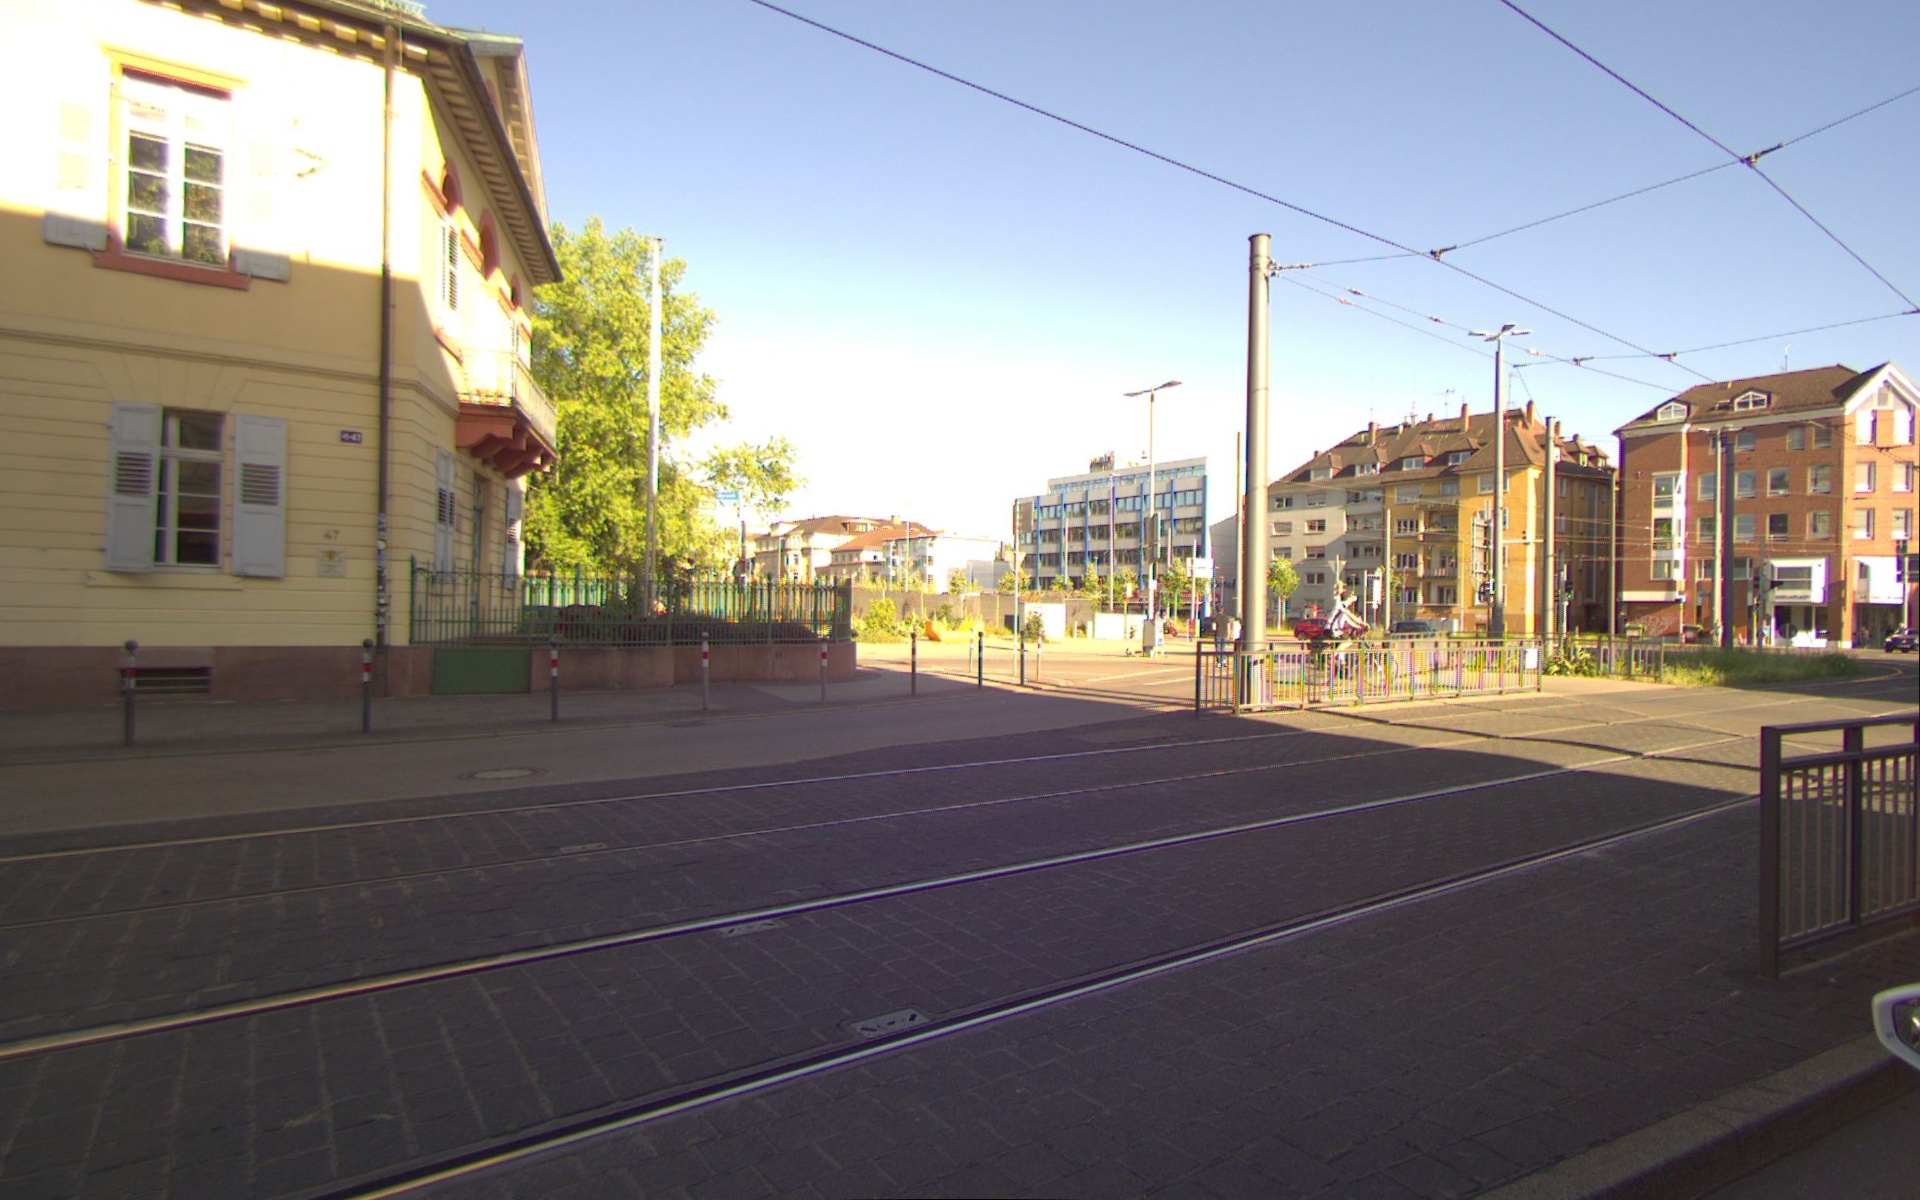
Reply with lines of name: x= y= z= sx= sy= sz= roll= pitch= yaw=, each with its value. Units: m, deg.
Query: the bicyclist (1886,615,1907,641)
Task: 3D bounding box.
bicyclist: x=60.296 y=1.799 z=64.680 sx=0.737 sy=1.584 sz=0.781 roll=2 pitch=0 yaw=-28

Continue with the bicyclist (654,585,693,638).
bicyclist: x=-8.565 y=0.344 z=30.053 sx=1.022 sy=1.542 sz=0.392 roll=2 pitch=0 yaw=5

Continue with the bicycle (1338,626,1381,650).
bicycle: x=21.957 y=2.078 z=55.192 sx=0.542 sy=1.230 sz=2.168 roll=2 pitch=0 yaw=-41

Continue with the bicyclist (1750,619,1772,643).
bicyclist: x=50.369 y=1.939 z=63.149 sx=0.958 sy=1.490 sz=0.702 roll=1 pitch=0 yaw=-22

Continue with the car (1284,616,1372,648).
car: x=21.877 y=1.882 z=59.898 sx=1.984 sy=1.723 sz=4.545 roll=2 pitch=0 yaw=-41

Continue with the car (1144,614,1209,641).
car: x=14.751 y=1.868 z=68.571 sx=1.895 sy=1.708 sz=3.916 roll=2 pitch=0 yaw=-41

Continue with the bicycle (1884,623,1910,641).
bicycle: x=60.333 y=2.062 z=64.655 sx=2.197 sy=1.103 sz=0.535 roll=2 pitch=0 yaw=-28

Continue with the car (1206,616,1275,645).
car: x=18.011 y=1.938 z=64.580 sx=1.762 sy=1.694 sz=3.955 roll=2 pitch=0 yaw=-39

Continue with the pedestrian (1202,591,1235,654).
pedestrian: x=7.169 y=0.613 z=27.877 sx=0.759 sy=1.703 sz=0.593 roll=2 pitch=0 yaw=5

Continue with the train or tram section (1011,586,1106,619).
train or tram section: x=10.165 y=0.220 z=105.308 sx=2.783 sy=3.172 sz=11.133 roll=2 pitch=0 yaw=-41

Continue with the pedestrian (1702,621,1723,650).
pedestrian: x=48.217 y=2.256 z=64.364 sx=0.737 sy=1.845 sz=0.781 roll=2 pitch=0 yaw=-28

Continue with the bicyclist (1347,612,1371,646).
bicyclist: x=21.935 y=1.591 z=55.220 sx=0.785 sy=1.832 sz=0.892 roll=2 pitch=0 yaw=-42

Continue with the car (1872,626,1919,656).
car: x=53.197 y=2.303 z=56.311 sx=3.983 sy=1.547 sz=1.705 roll=2 pitch=0 yaw=-26

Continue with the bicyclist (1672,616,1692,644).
bicyclist: x=39.807 y=1.648 z=55.382 sx=0.688 sy=1.523 sz=0.630 roll=2 pitch=0 yaw=-30

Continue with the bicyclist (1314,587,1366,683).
bicyclist: x=7.340 y=0.664 z=19.387 sx=0.740 sy=1.783 sz=0.756 roll=2 pitch=0 yaw=35

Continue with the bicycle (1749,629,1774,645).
bicycle: x=50.380 y=2.337 z=63.135 sx=1.669 sy=0.994 sz=0.403 roll=2 pitch=0 yaw=-22

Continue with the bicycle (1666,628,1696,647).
bicycle: x=39.718 y=2.061 z=55.327 sx=2.220 sy=0.984 sz=0.444 roll=2 pitch=0 yaw=-31

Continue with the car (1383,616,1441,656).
car: x=18.924 y=1.481 z=41.948 sx=1.617 sy=1.546 sz=3.855 roll=2 pitch=0 yaw=33

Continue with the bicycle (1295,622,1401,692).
bicycle: x=7.444 y=1.069 z=19.326 sx=1.824 sy=1.238 sz=0.484 roll=2 pitch=0 yaw=36

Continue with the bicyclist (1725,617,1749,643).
bicyclist: x=45.538 y=1.765 z=58.905 sx=0.688 sy=1.523 sz=0.894 roll=2 pitch=0 yaw=-30

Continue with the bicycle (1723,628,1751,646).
bicycle: x=45.560 y=2.166 z=58.896 sx=2.220 sy=0.984 sz=0.521 roll=2 pitch=0 yaw=-31
